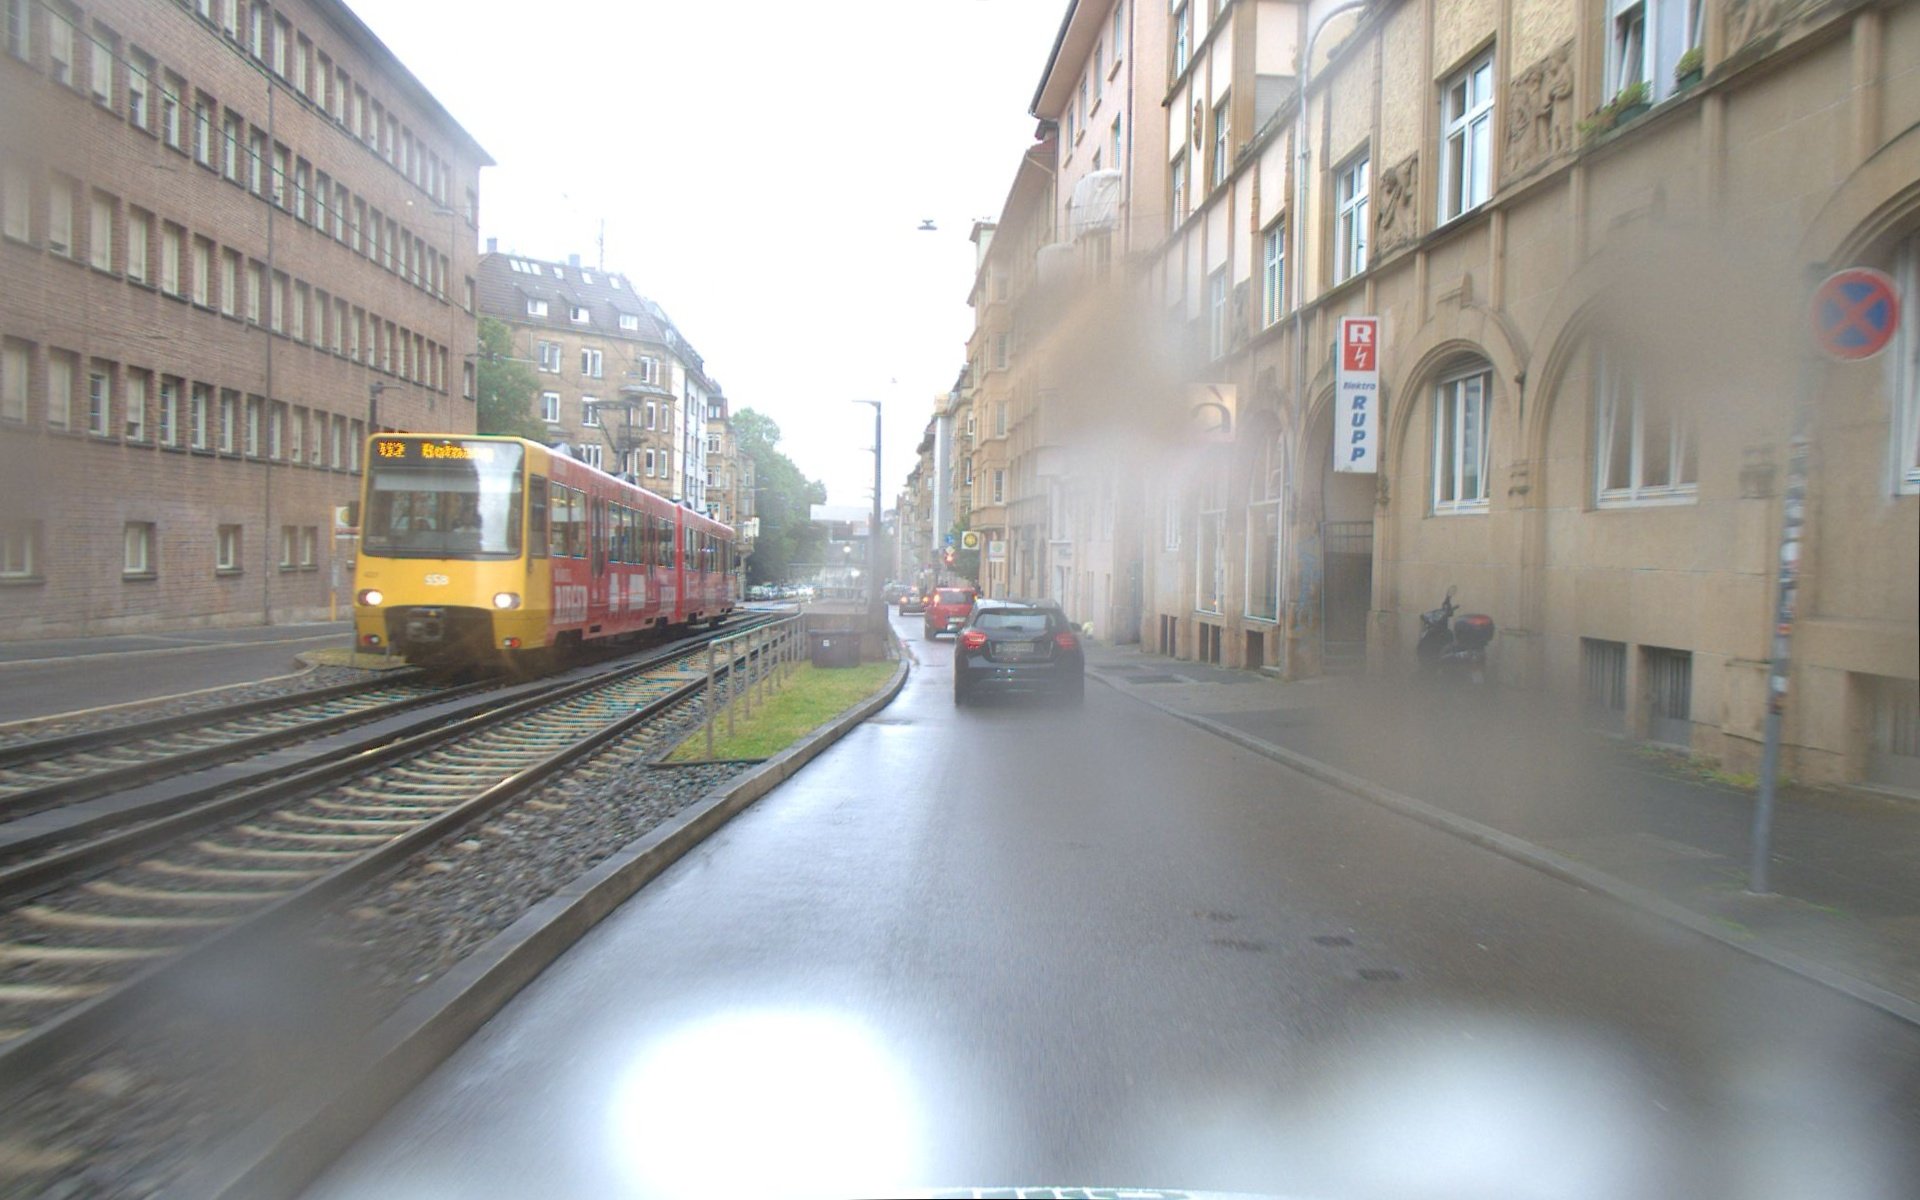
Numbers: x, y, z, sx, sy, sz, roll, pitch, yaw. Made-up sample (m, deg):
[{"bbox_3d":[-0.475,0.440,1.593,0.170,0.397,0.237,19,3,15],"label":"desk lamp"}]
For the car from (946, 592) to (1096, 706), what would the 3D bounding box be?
[{"bbox_3d":[0.783,0.637,23.392,1.798,1.478,3.899,0,0,-3],"label":"car"}]

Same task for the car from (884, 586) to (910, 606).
[{"bbox_3d":[-5.278,-0.342,137.993,2.092,1.552,4.243,1,0,-3],"label":"car"}]

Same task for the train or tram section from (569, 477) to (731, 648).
[{"bbox_3d":[-8.630,-0.972,48.080,2.691,4.132,15.650,0,0,-4],"label":"train or tram section"}]

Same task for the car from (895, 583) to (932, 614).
[{"bbox_3d":[-2.402,-0.053,86.863,1.849,1.552,4.244,1,0,-1],"label":"car"}]

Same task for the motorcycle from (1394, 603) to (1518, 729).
[{"bbox_3d":[5.220,0.654,17.547,0.545,1.180,2.268,-4,1,-1],"label":"motorcycle"}]

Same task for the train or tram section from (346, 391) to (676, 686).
[{"bbox_3d":[-7.784,-0.929,31.857,2.691,4.132,17.202,0,0,-4],"label":"train or tram section"}]

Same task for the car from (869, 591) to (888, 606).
[{"bbox_3d":[-9.005,-0.180,183.403,2.092,1.552,4.243,1,0,-3],"label":"car"}]

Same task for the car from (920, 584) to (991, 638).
[{"bbox_3d":[-0.183,0.324,50.359,1.954,1.552,4.243,1,0,-3],"label":"car"}]

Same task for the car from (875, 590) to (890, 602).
[{"bbox_3d":[-10.866,-0.567,231.833,2.092,1.552,4.243,1,0,-3],"label":"car"}]

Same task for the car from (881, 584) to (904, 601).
[{"bbox_3d":[-6.325,-0.717,154.632,2.092,1.552,4.243,1,0,-3],"label":"car"}]

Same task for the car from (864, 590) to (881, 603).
[{"bbox_3d":[-11.319,-0.474,214.003,2.092,1.552,4.243,1,0,-3],"label":"car"}]
